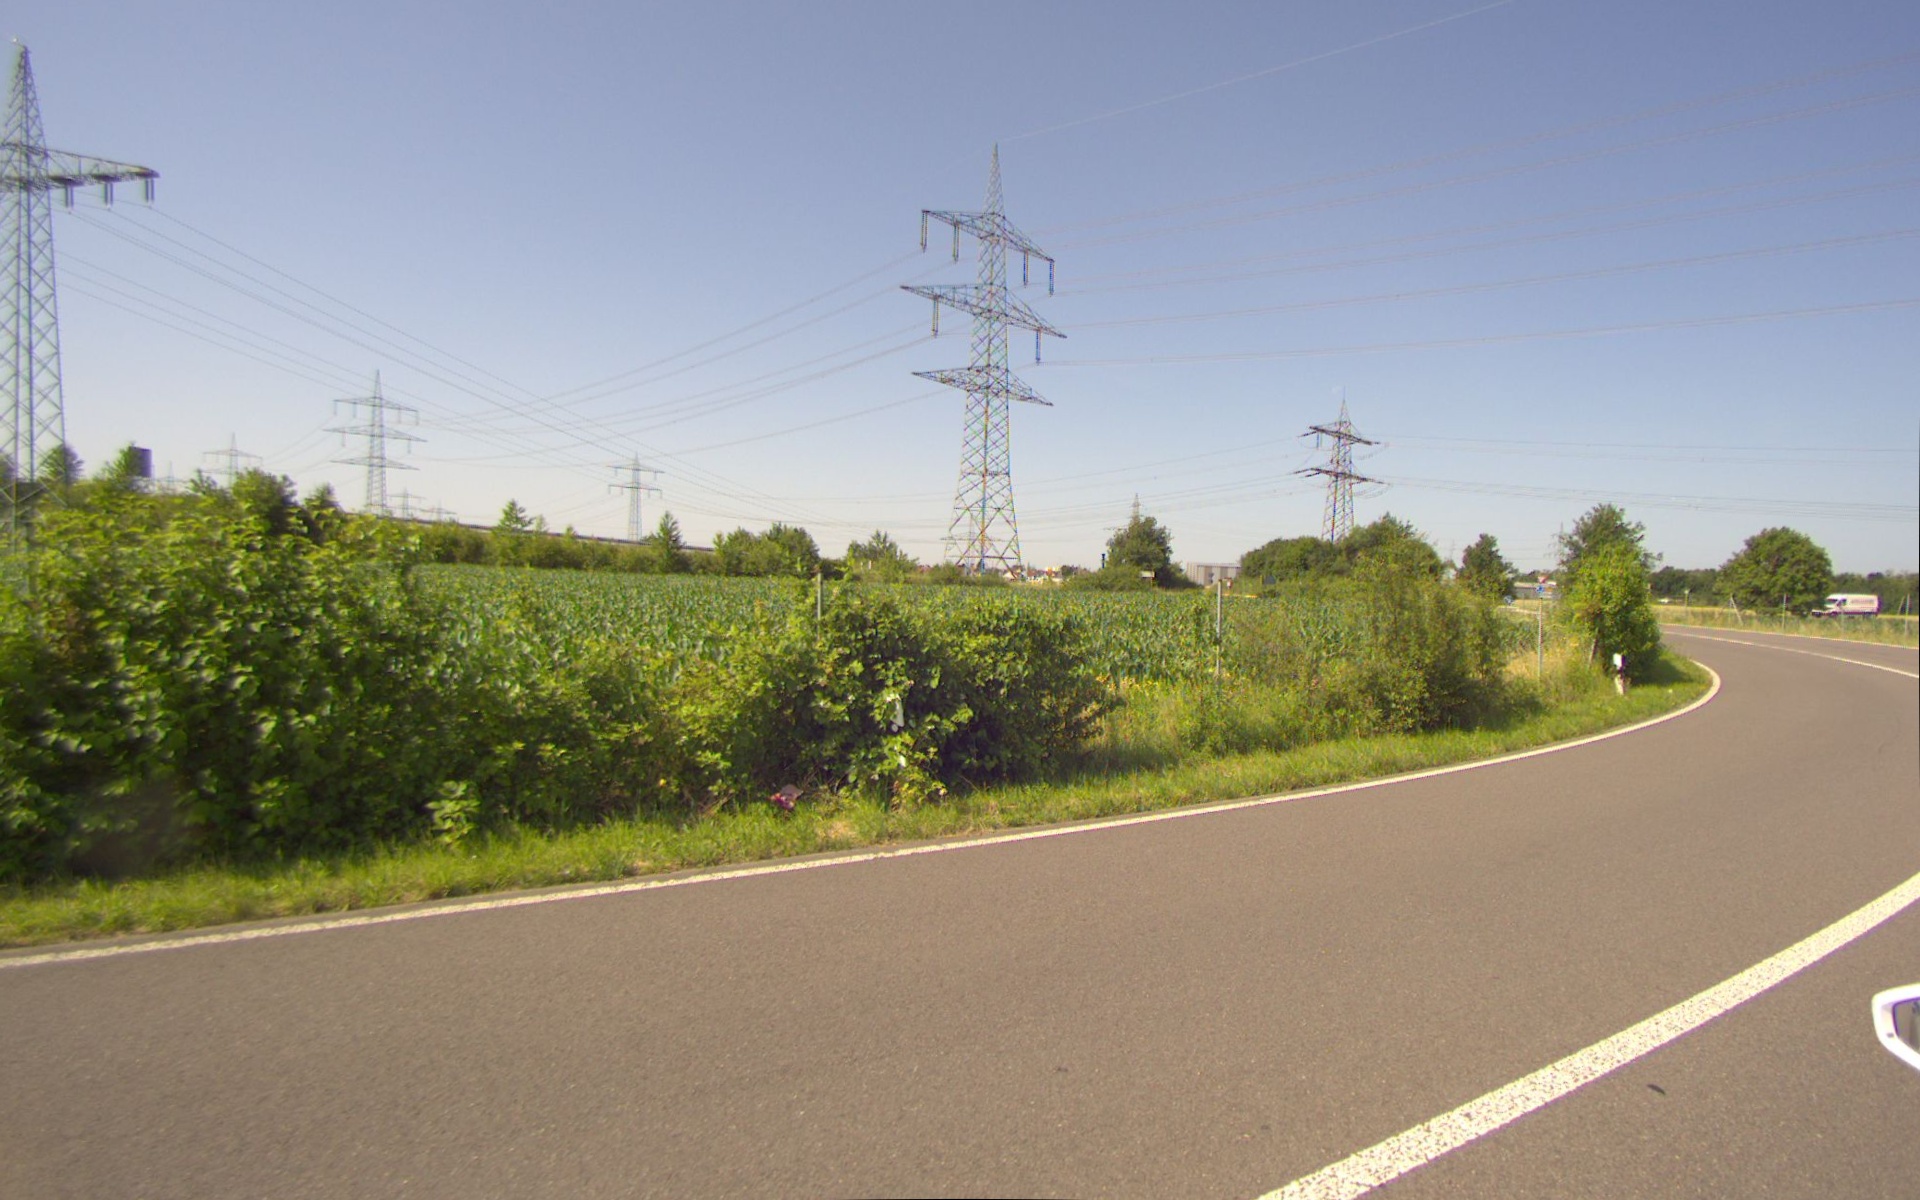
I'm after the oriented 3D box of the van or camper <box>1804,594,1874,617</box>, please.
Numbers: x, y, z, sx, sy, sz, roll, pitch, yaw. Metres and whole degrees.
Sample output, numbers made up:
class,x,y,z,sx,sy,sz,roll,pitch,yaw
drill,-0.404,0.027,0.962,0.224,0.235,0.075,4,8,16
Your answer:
class,x,y,z,sx,sy,sz,roll,pitch,yaw
van or camper,93.743,0.578,107.146,5.656,2.297,1.999,2,1,-1
